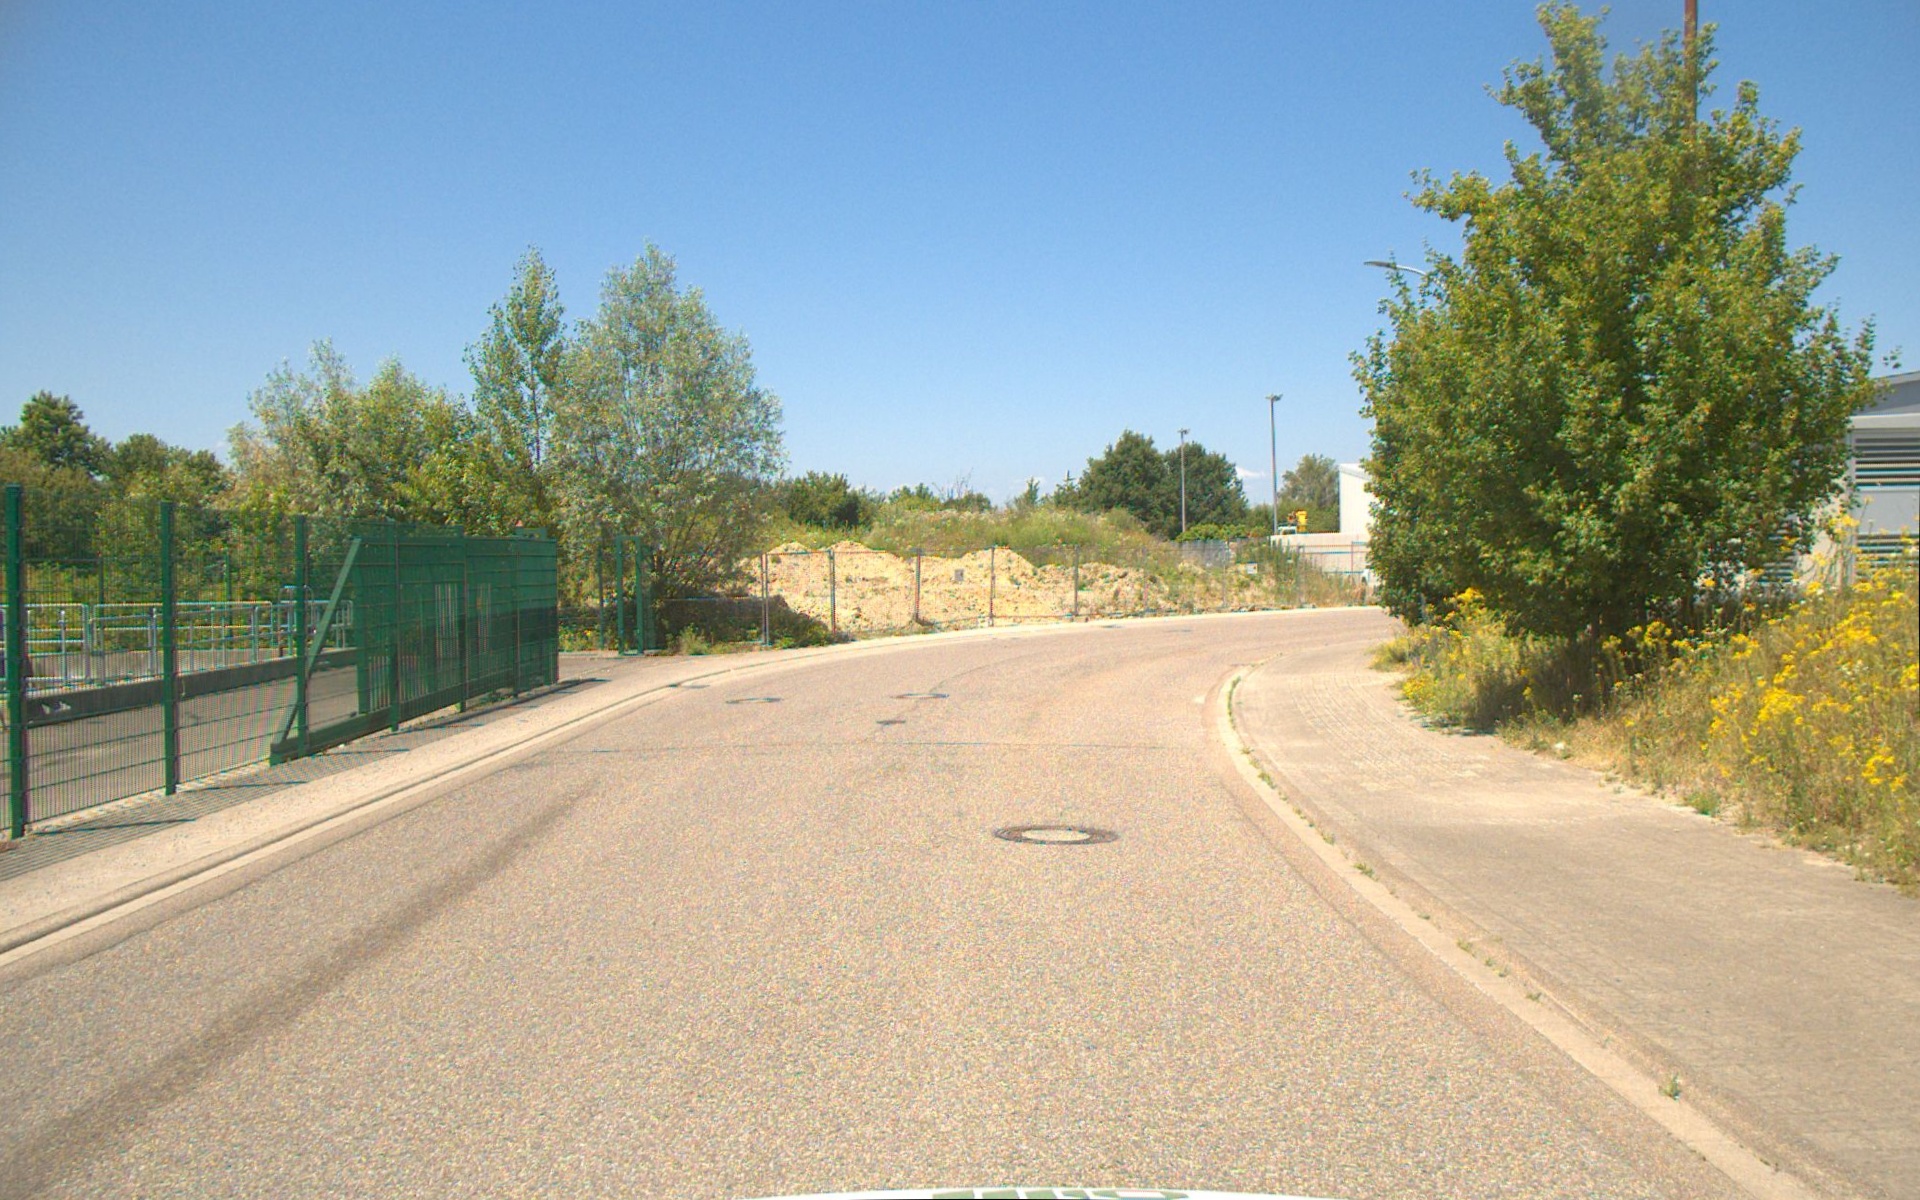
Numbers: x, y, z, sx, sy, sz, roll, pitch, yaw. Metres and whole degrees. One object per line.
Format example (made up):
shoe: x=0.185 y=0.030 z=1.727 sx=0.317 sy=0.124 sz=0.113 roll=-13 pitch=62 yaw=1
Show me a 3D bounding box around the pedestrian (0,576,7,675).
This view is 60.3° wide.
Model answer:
pedestrian: x=-18.455 y=0.496 z=31.066 sx=0.593 sy=1.871 sz=0.804 roll=-2 pitch=0 yaw=-2
